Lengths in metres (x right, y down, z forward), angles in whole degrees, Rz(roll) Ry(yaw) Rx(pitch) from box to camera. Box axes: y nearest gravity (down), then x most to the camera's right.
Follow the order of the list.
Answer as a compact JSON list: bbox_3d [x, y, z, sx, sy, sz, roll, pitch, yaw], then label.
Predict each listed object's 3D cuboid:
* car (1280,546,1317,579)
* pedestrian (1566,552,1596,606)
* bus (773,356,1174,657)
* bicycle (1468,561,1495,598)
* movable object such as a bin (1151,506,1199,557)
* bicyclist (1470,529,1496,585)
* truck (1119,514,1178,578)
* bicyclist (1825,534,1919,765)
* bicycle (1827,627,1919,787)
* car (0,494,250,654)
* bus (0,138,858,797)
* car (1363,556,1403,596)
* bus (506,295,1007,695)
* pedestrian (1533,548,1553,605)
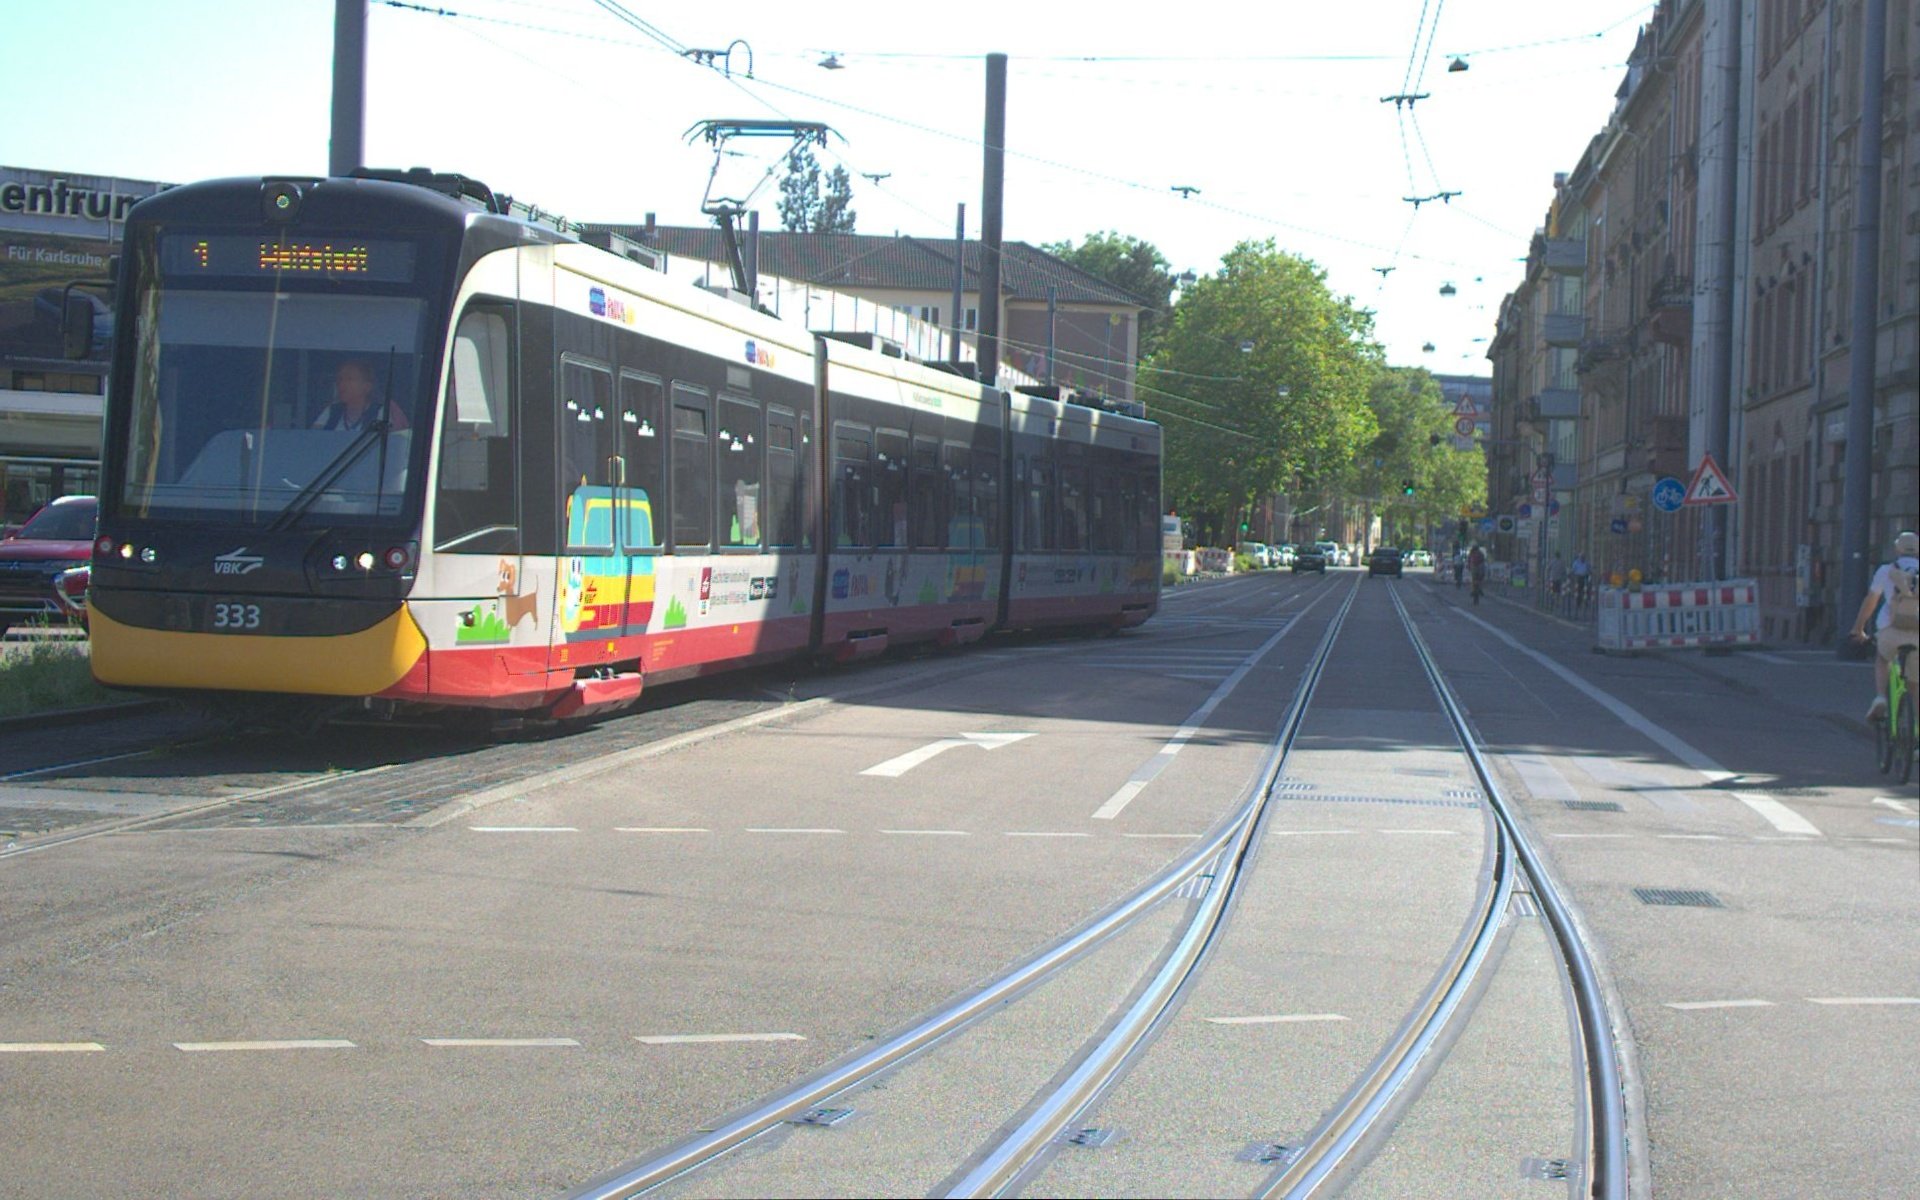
[{"bbox_3d":[18.992,-2.084,192.777,1.759,1.691,4.142,4,1,8],"label":"car"},{"bbox_3d":[18.878,-0.638,104.510,0.798,1.599,0.652,3,0,9],"label":"pedestrian"},{"bbox_3d":[0.490,-1.222,47.786,2.843,3.577,11.264,3,1,14],"label":"bus"},{"bbox_3d":[16.384,-0.656,108.019,0.681,1.110,2.706,4,1,7],"label":"bicycle"},{"bbox_3d":[12.166,-3.856,194.259,2.495,2.636,5.988,4,1,4],"label":"movable object such as a bin"},{"bbox_3d":[16.392,-1.353,107.717,0.667,1.691,1.043,4,1,7],"label":"bicyclist"},{"bbox_3d":[8.965,-2.536,163.538,2.538,2.820,6.376,4,1,3],"label":"truck"},{"bbox_3d":[7.090,0.366,25.917,0.681,1.677,1.120,4,1,-3],"label":"bicyclist"},{"bbox_3d":[7.072,0.796,25.847,0.531,1.113,1.934,4,1,-1],"label":"bicycle"},{"bbox_3d":[-10.025,-0.308,39.884,1.800,1.713,4.414,2,1,13],"label":"car"},{"bbox_3d":[-3.316,-0.872,26.020,2.842,3.577,13.492,3,1,7],"label":"bus"},{"bbox_3d":[23.140,-1.301,187.805,1.994,2.007,3.999,4,1,7],"label":"car"},{"bbox_3d":[-1.840,-1.063,37.203,2.842,3.577,10.722,3,1,10],"label":"bus"},{"bbox_3d":[17.646,-0.710,104.116,0.553,1.695,0.473,1,0,14],"label":"pedestrian"}]
